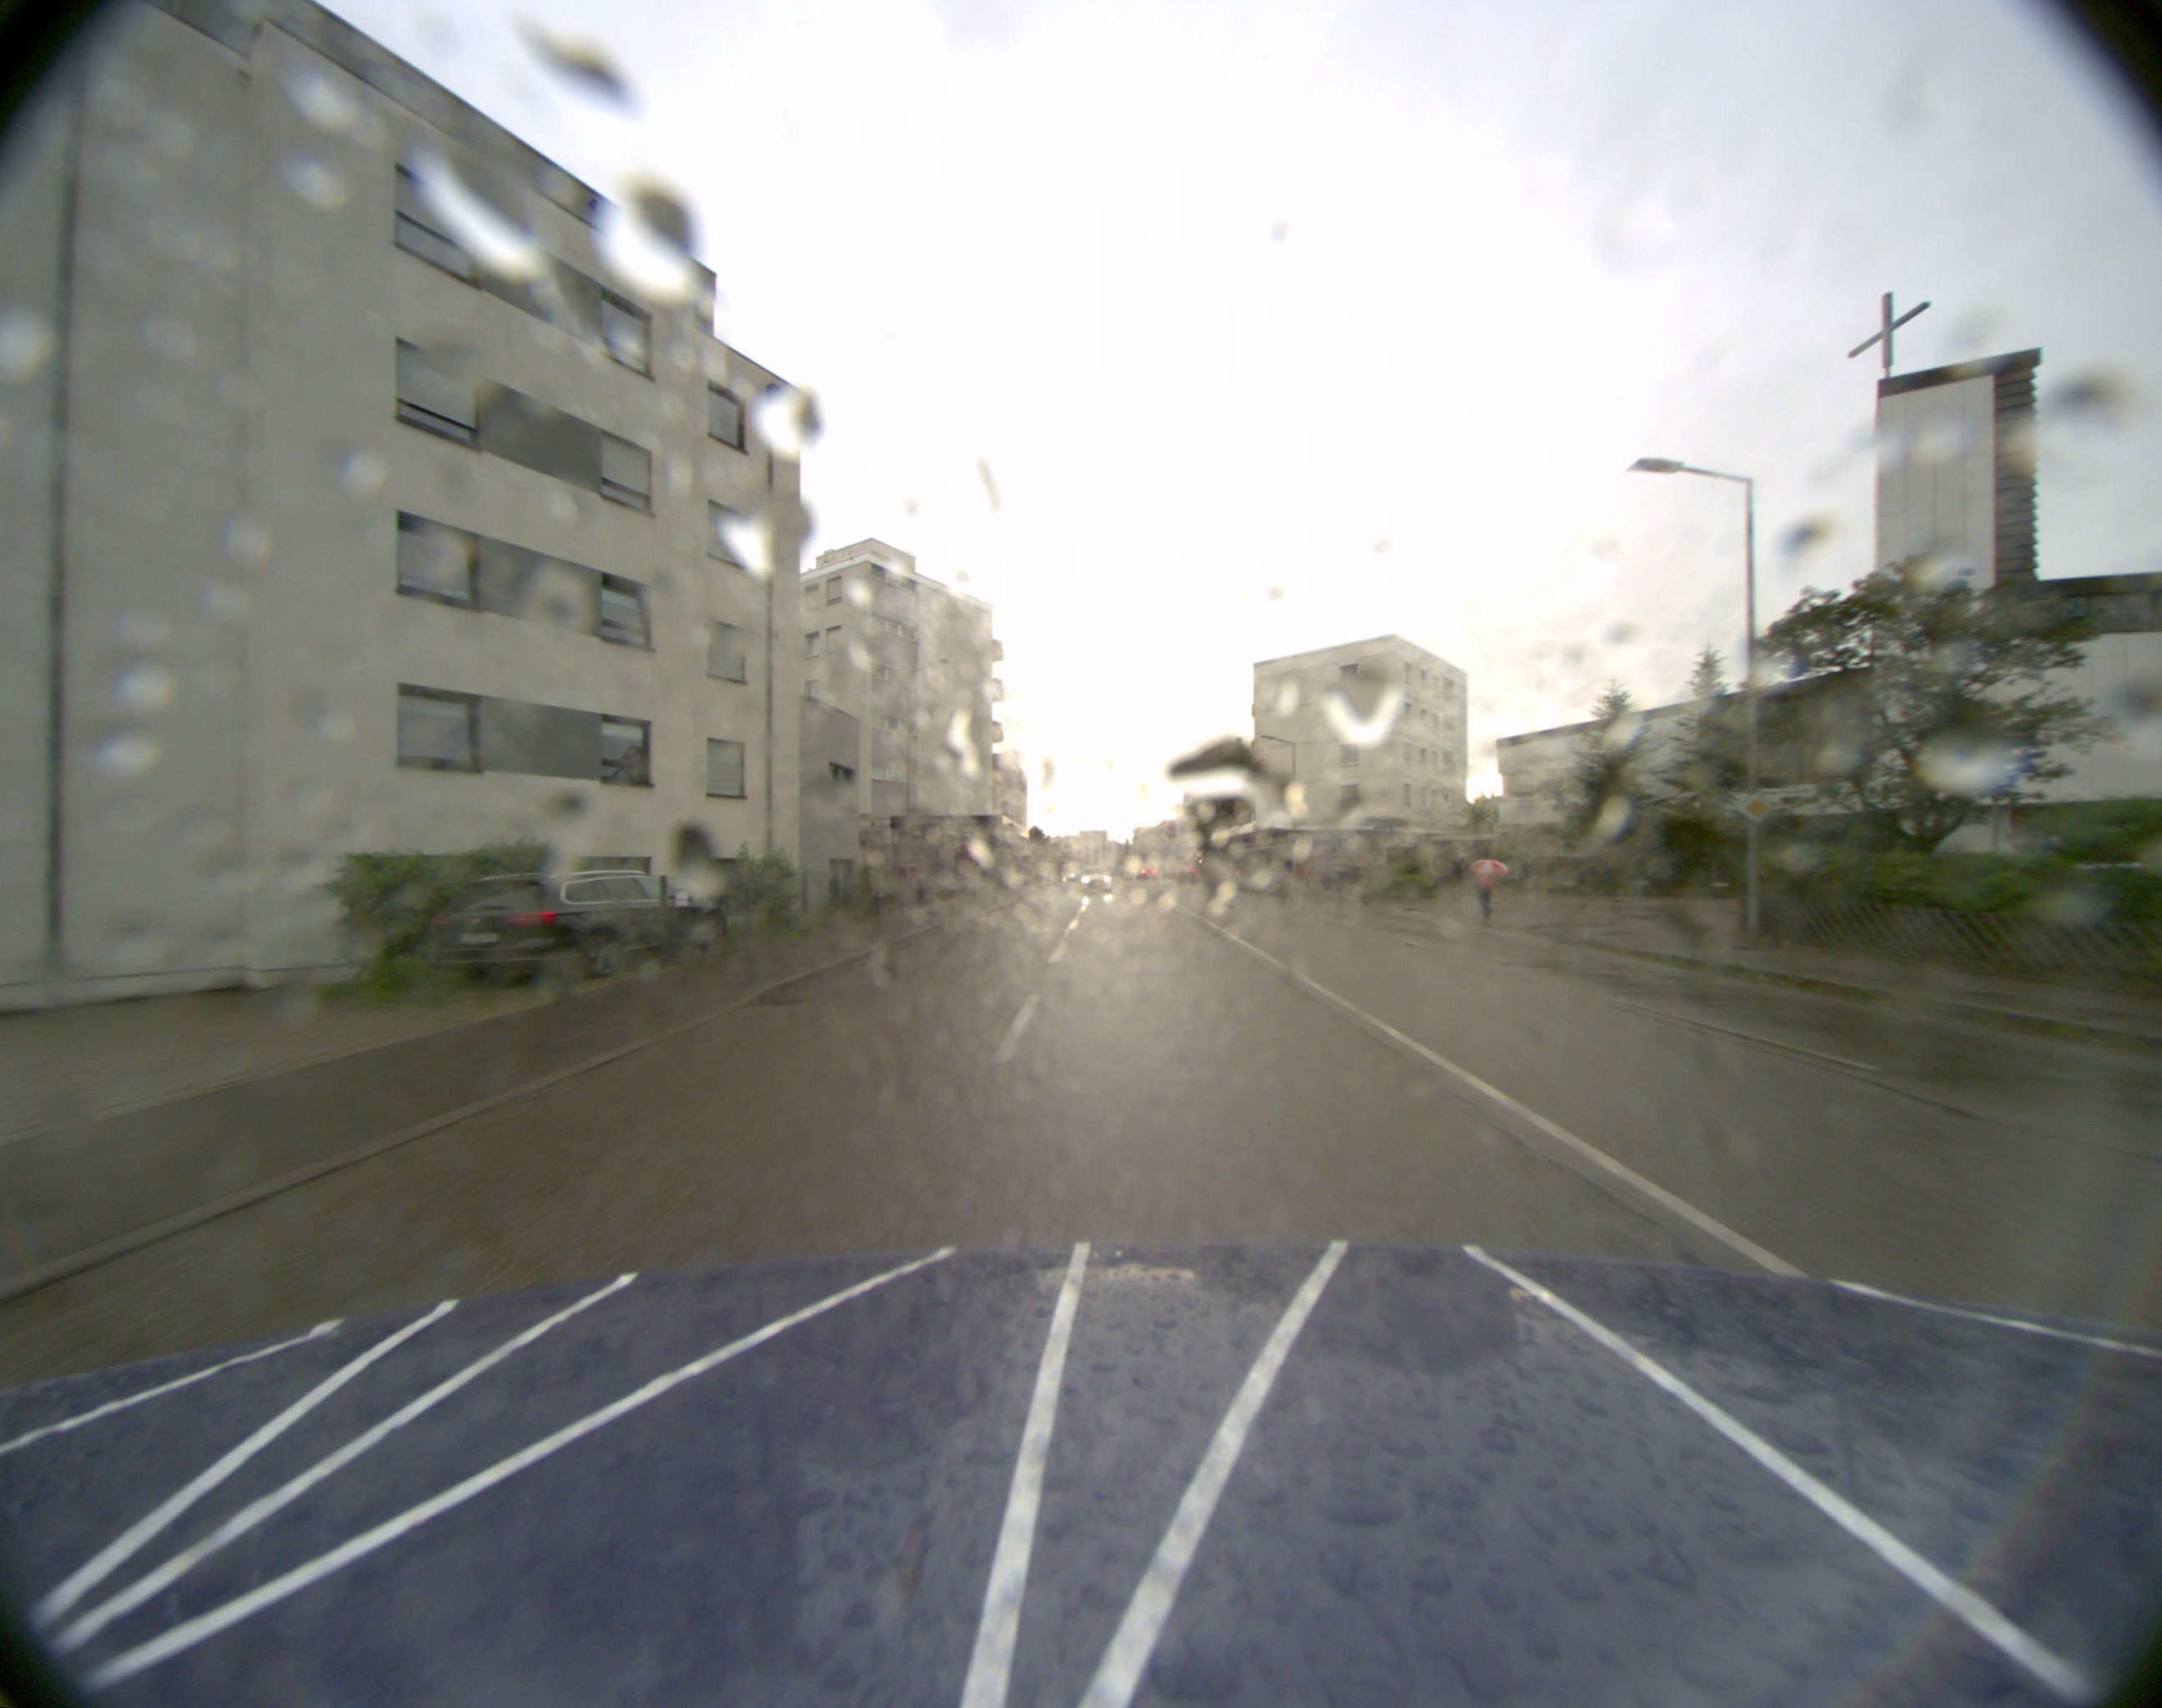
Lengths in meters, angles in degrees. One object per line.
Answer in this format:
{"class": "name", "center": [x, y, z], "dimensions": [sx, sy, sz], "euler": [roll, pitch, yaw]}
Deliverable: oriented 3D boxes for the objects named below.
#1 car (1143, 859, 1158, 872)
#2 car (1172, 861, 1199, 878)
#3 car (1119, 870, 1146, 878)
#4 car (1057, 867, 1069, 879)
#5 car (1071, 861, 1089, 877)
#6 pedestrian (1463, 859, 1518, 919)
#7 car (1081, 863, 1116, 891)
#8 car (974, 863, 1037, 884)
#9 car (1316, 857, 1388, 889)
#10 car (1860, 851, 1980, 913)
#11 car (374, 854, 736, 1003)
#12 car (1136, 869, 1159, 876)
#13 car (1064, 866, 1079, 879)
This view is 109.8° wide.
{"class": "car", "center": [8.344, 1.428, 91.261], "dimensions": [1.806, 1.547, 4.321], "euler": [-1, -1, 5]}
{"class": "car", "center": [9.023, 1.356, 66.045], "dimensions": [1.702, 1.400, 4.001], "euler": [2, -1, 0]}
{"class": "car", "center": [10.890, 4.194, 161.791], "dimensions": [5.465, 1.673, 2.153], "euler": [-2, -2, 39]}
{"class": "car", "center": [-3.296, 3.487, 139.121], "dimensions": [1.998, 2.001, 4.002], "euler": [-1, -1, 3]}
{"class": "car", "center": [-0.104, 1.858, 94.131], "dimensions": [1.998, 2.001, 4.002], "euler": [-1, -1, 4]}
{"class": "pedestrian", "center": [11.323, 0.946, 21.034], "dimensions": [0.872, 1.597, 1.103], "euler": [-1, 1, -5]}
{"class": "car", "center": [0.962, 1.296, 42.976], "dimensions": [1.829, 1.431, 4.346], "euler": [-1, -1, 0]}
{"class": "car", "center": [-5.547, 1.447, 55.732], "dimensions": [4.260, 1.485, 1.877], "euler": [-2, -2, 30]}
{"class": "car", "center": [14.742, 0.999, 41.223], "dimensions": [1.994, 1.537, 4.480], "euler": [-1, 0, 44]}
{"class": "car", "center": [24.609, 0.738, 22.241], "dimensions": [4.396, 1.605, 2.126], "euler": [-1, 0, -39]}
{"class": "car", "center": [-7.356, 0.904, 11.414], "dimensions": [1.998, 1.775, 4.692], "euler": [0, 0, 3]}
{"class": "car", "center": [13.734, 3.783, 156.971], "dimensions": [4.622, 1.487, 1.930], "euler": [-1, -1, 4]}
{"class": "car", "center": [-1.453, 2.939, 119.227], "dimensions": [1.998, 2.001, 4.002], "euler": [-1, -1, 4]}
